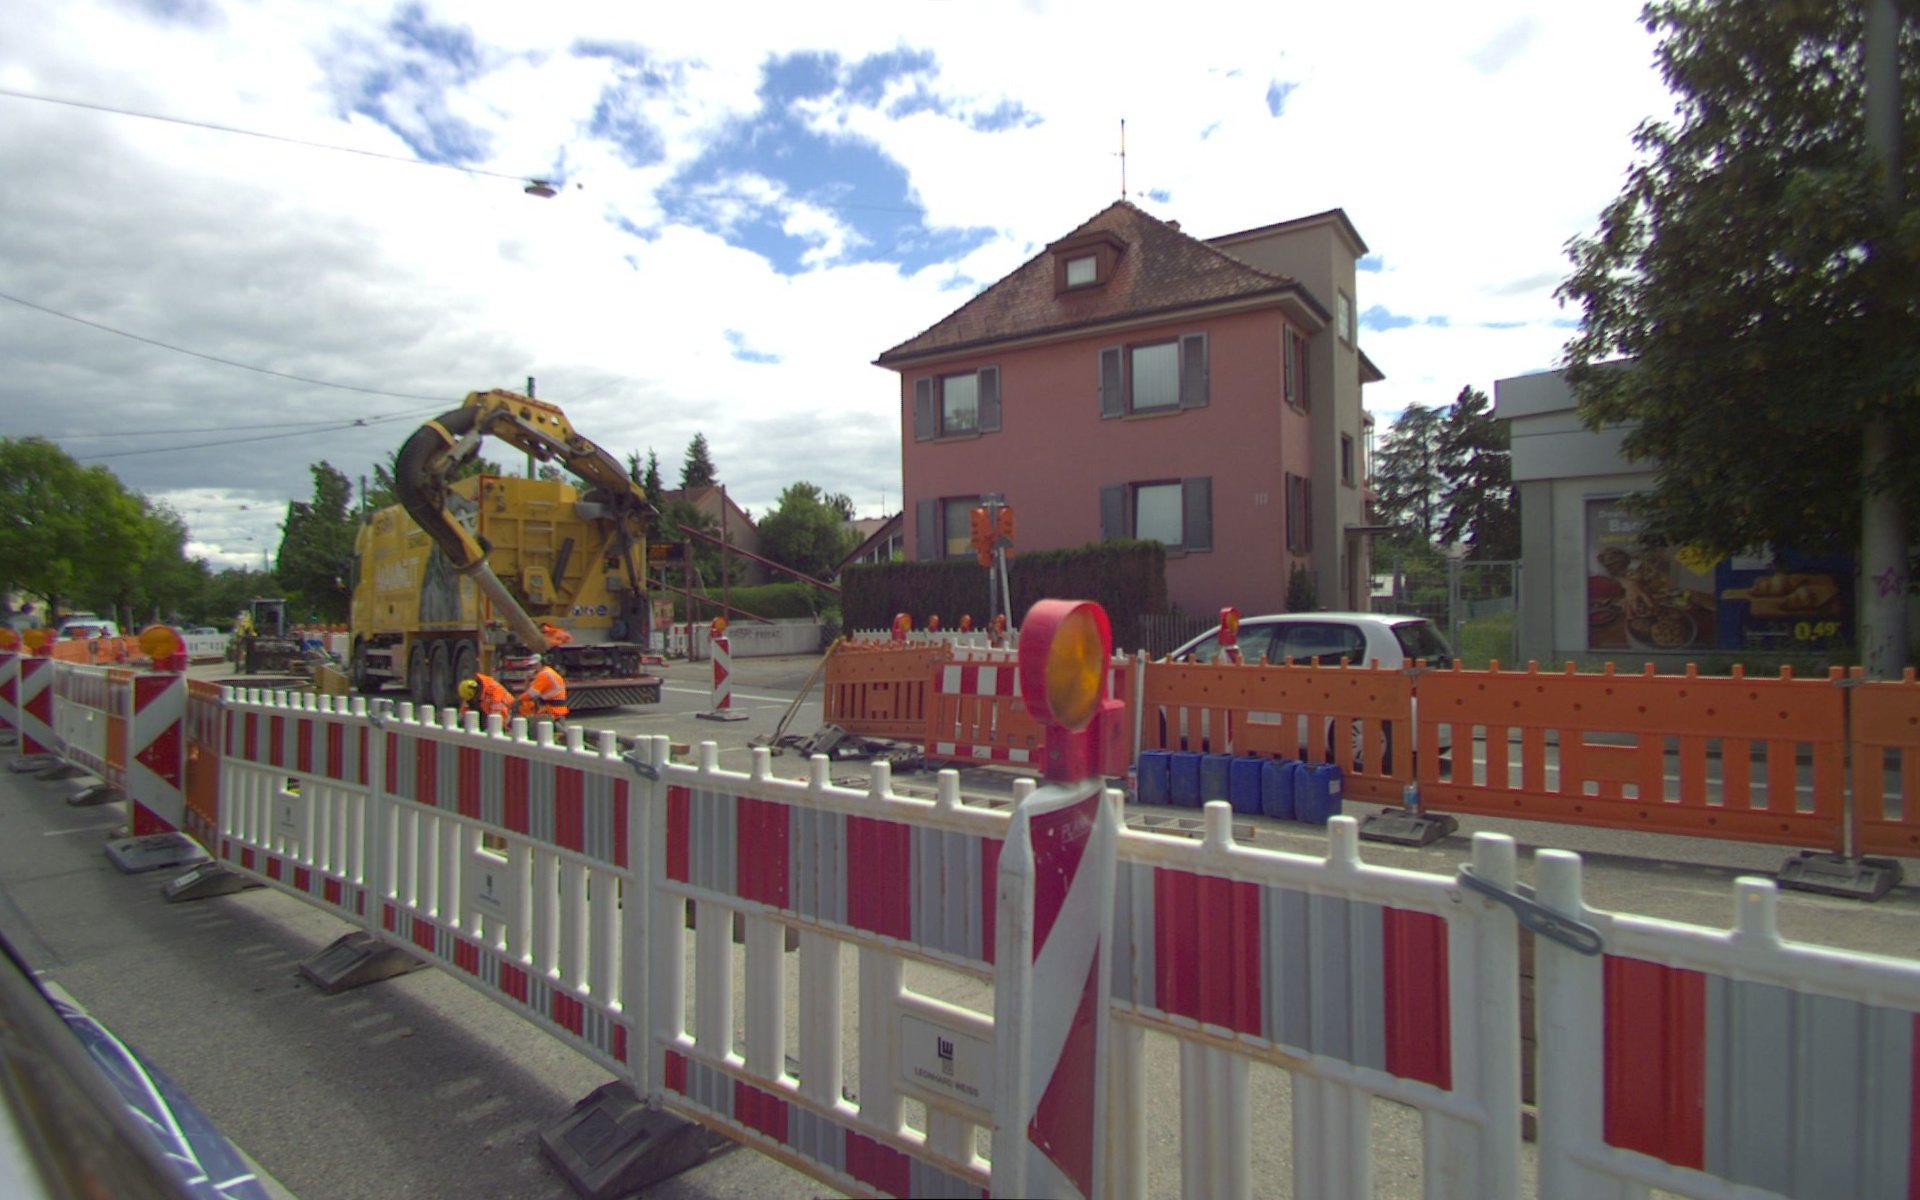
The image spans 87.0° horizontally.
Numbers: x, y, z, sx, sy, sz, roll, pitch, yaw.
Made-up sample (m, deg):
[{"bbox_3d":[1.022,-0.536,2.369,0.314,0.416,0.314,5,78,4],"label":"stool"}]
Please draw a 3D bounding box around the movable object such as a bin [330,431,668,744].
[{"bbox_3d":[-9.113,-0.016,18.777,2.559,4.253,11.135,0,-2,-41],"label":"movable object such as a bin"}]

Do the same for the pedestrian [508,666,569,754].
[{"bbox_3d":[-5.246,1.350,12.619,0.632,0.998,0.795,0,-2,-18],"label":"pedestrian"}]

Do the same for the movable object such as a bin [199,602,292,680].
[{"bbox_3d":[-26.451,1.479,37.696,1.965,2.645,6.543,0,-2,-28],"label":"movable object such as a bin"}]

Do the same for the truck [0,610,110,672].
[{"bbox_3d":[-56.105,2.533,62.062,6.558,3.223,2.336,-5,-2,9],"label":"truck"}]

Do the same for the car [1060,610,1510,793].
[{"bbox_3d":[3.202,0.897,10.420,3.999,1.464,1.835,-2,0,42],"label":"car"}]

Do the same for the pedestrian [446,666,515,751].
[{"bbox_3d":[-6.207,1.384,13.084,0.779,0.998,0.814,0,-2,-28],"label":"pedestrian"}]

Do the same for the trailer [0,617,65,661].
[{"bbox_3d":[-51.903,2.171,55.806,2.557,2.262,5.691,-4,0,-29],"label":"trailer"}]
